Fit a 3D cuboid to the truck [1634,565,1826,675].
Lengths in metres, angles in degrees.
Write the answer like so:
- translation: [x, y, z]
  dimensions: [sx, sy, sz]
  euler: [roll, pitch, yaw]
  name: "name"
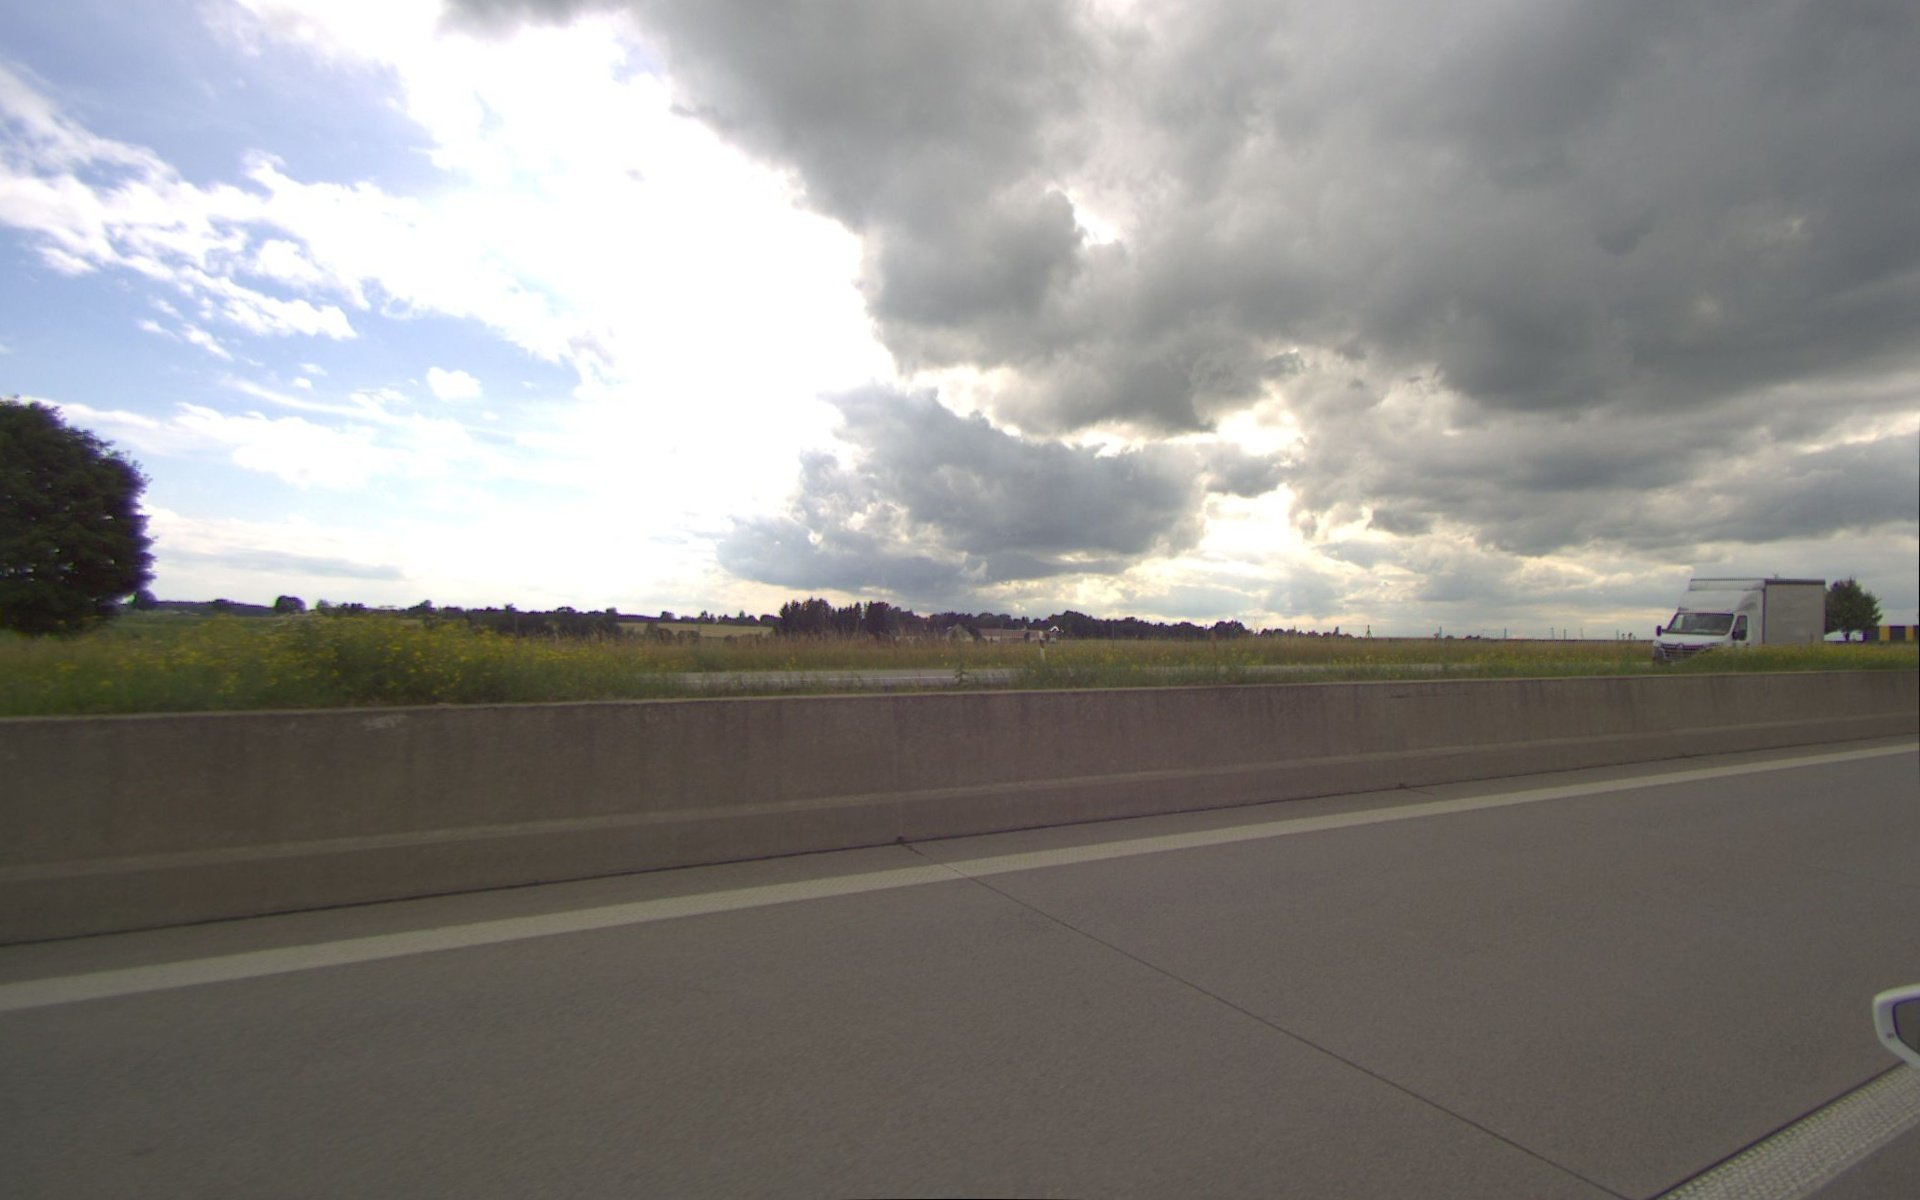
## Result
- translation: [25.698, 0.728, 33.448]
  dimensions: [7.208, 3.372, 2.347]
  euler: [2, 0, -29]
  name: "truck"
